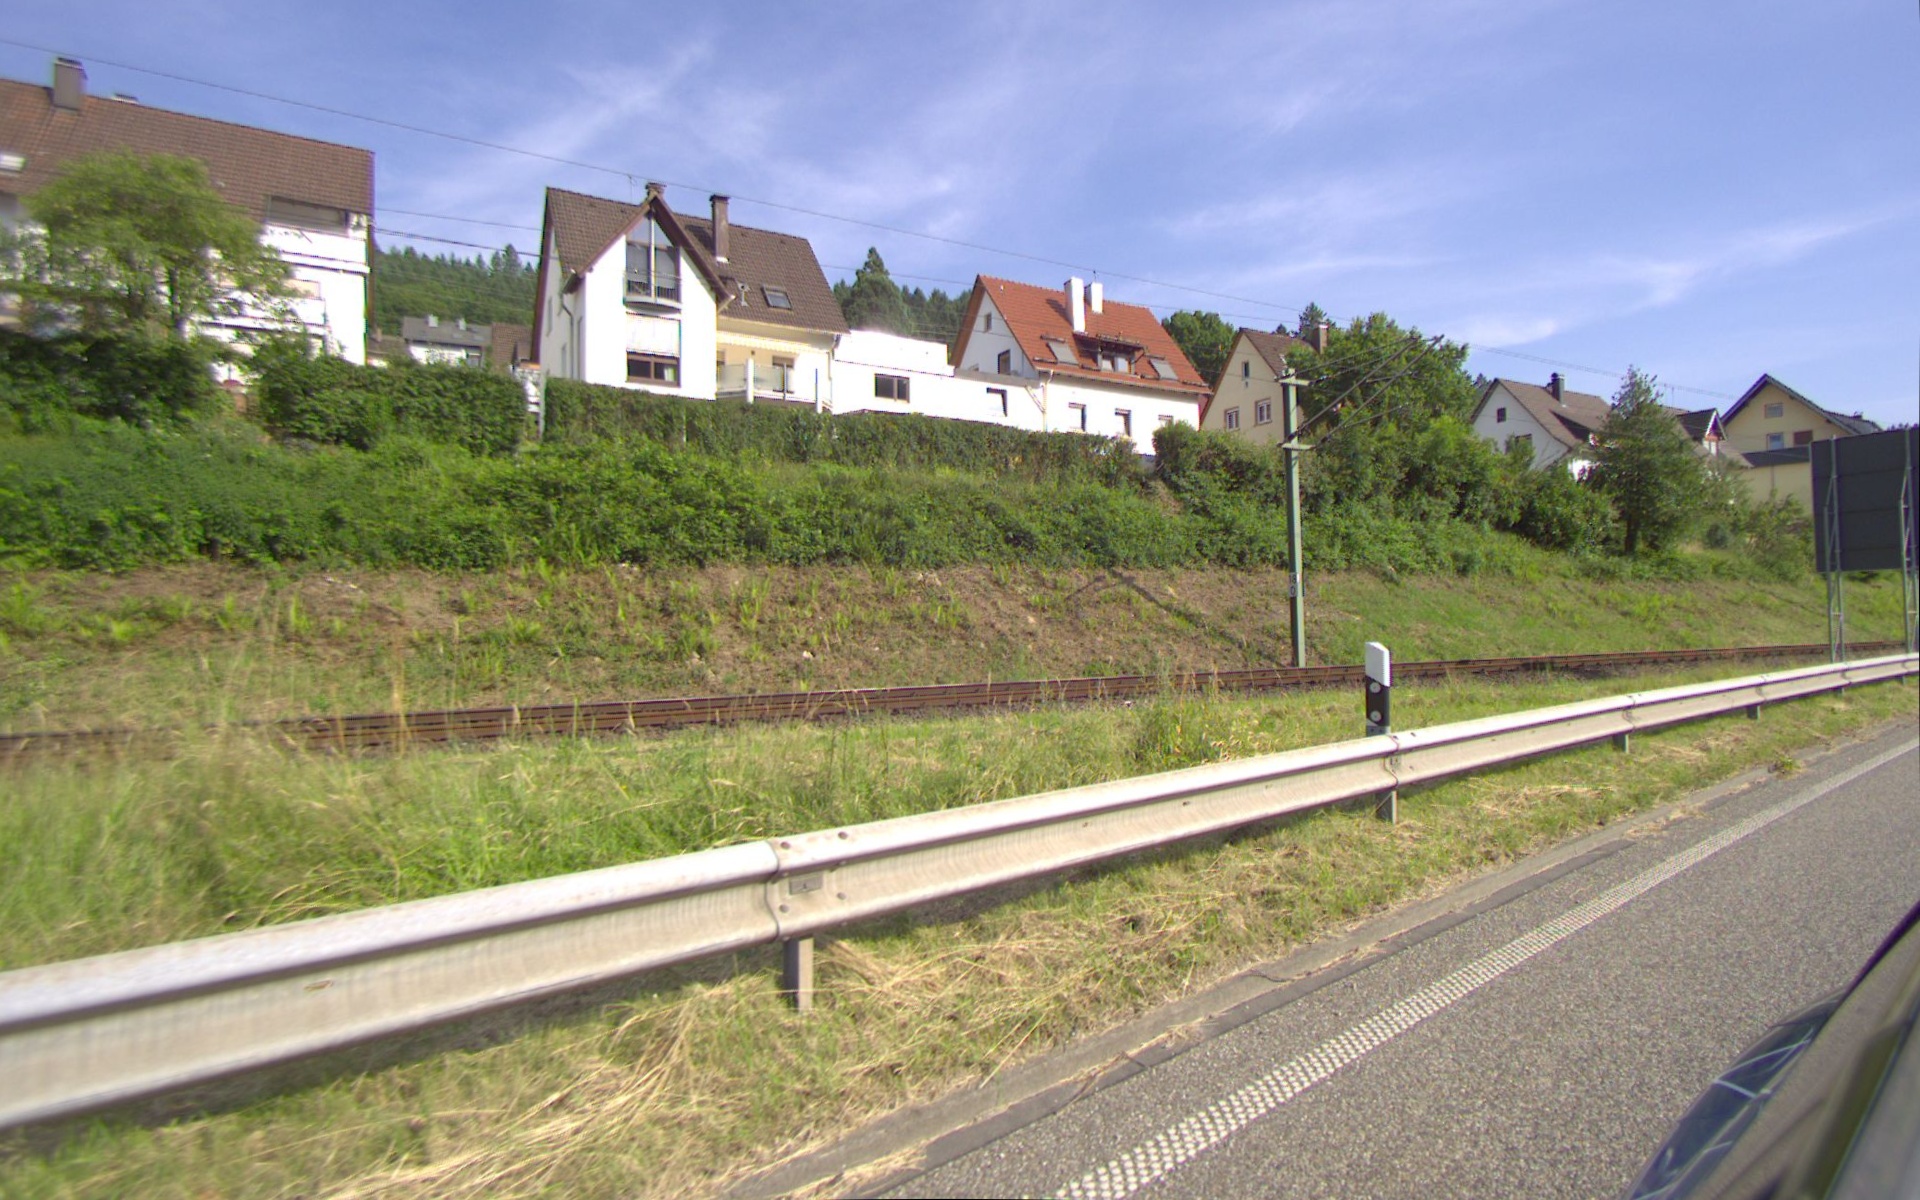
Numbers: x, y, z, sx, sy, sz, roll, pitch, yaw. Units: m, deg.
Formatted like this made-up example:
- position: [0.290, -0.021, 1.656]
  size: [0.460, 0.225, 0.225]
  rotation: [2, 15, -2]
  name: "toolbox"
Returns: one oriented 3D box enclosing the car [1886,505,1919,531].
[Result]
- position: [65.854, -5.724, 68.940]
  size: [1.719, 1.560, 3.751]
  rotation: [-2, -3, -34]
  name: "car"
